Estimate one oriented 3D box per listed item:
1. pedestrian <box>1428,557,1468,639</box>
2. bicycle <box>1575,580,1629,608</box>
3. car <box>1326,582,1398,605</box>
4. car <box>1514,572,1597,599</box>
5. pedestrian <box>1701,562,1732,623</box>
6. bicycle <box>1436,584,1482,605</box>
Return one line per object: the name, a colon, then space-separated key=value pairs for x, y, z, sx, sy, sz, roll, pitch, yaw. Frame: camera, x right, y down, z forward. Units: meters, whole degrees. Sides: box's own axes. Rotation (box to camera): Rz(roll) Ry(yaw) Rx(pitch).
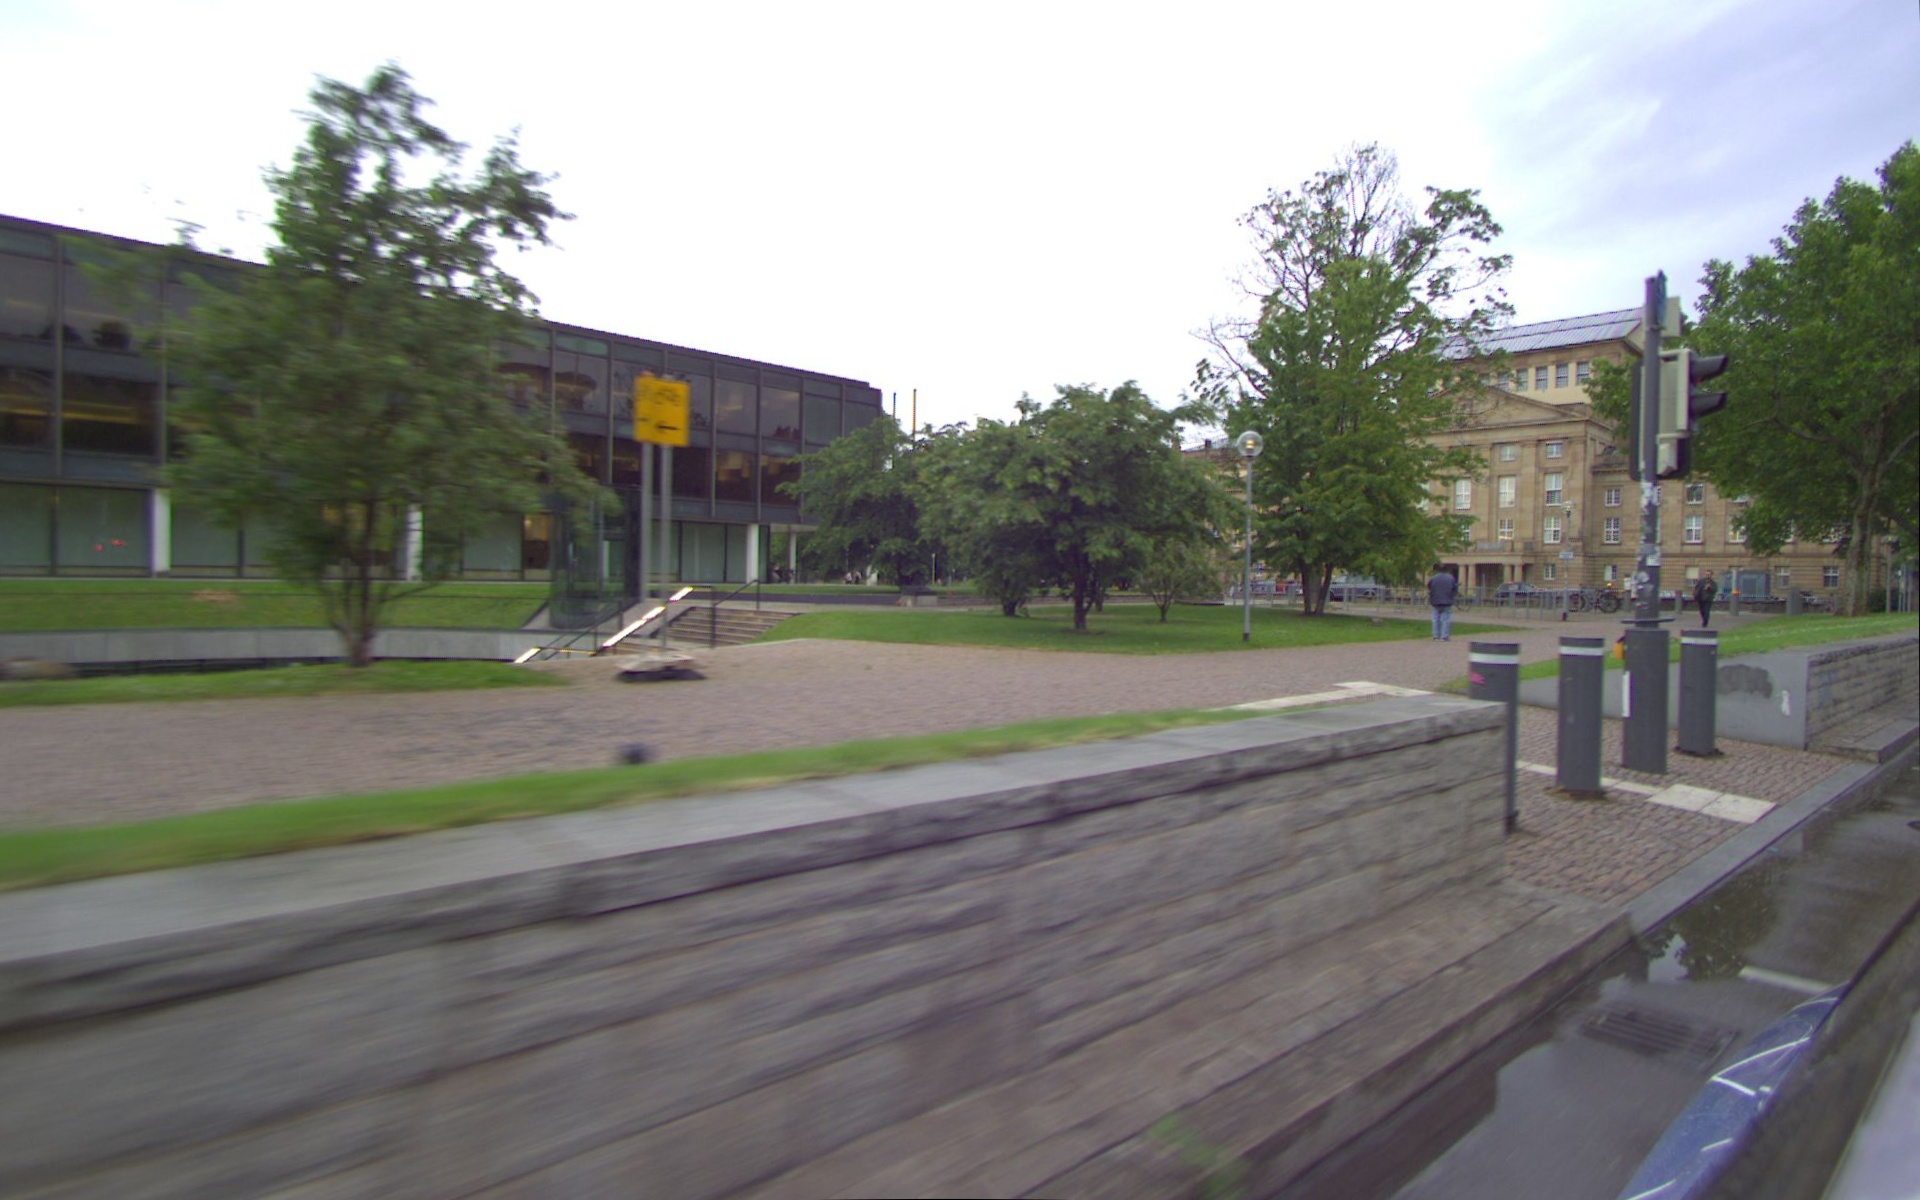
pedestrian: x=10.409 y=-0.055 z=21.581 sx=0.665 sy=1.685 sz=0.582 roll=2 pitch=2 yaw=32
bicycle: x=25.130 y=-0.231 z=39.649 sx=1.740 sy=1.079 sz=0.820 roll=0 pitch=0 yaw=28
car: x=28.162 y=-0.465 z=70.922 sx=1.925 sy=1.614 sz=4.287 roll=-1 pitch=1 yaw=-44
car: x=35.956 y=-0.867 z=61.146 sx=1.925 sy=1.614 sz=3.939 roll=-1 pitch=1 yaw=-44
pedestrian: x=22.636 y=-0.234 z=30.290 sx=0.576 sy=1.796 sz=0.594 roll=0 pitch=0 yaw=-37
bicycle: x=19.831 y=-0.223 z=40.230 sx=1.611 sy=0.806 sz=0.505 roll=1 pitch=1 yaw=29
